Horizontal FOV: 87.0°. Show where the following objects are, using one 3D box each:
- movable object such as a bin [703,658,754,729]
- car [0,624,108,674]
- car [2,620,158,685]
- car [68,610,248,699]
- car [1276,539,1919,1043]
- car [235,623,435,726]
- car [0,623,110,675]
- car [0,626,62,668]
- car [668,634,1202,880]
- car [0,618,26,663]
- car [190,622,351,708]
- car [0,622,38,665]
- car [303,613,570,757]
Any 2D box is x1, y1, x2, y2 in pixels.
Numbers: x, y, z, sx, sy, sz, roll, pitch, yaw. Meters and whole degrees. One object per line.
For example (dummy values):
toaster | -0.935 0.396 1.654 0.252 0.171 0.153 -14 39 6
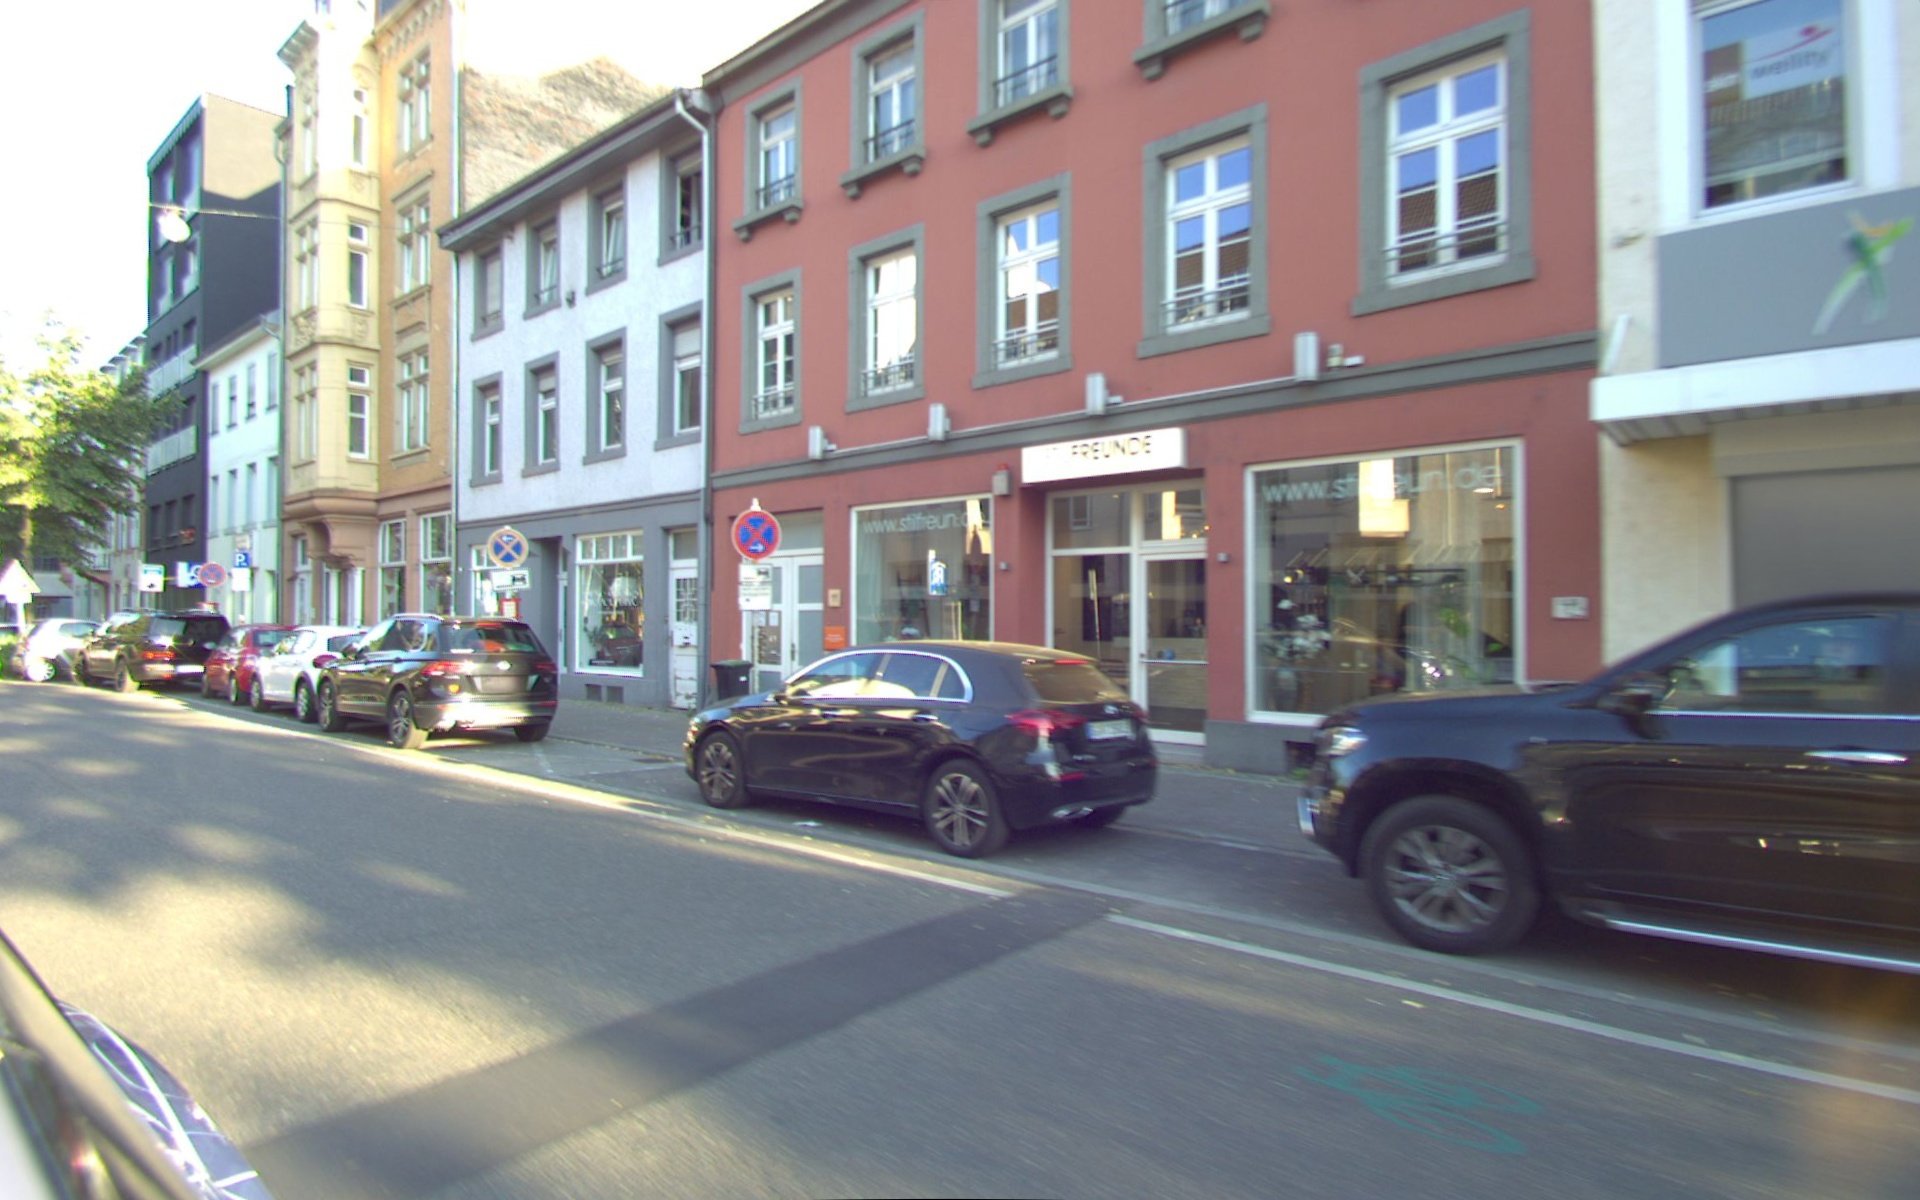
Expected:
movable object such as a bin | -3.425 1.368 14.993 0.670 0.997 0.425 -1 -1 41
car | -27.897 1.463 30.415 1.687 1.402 3.359 -2 -1 43
car | -22.131 1.334 25.495 1.569 1.532 2.668 -2 -4 37
car | -17.587 1.126 22.123 4.693 1.741 1.887 -1 -2 37
car | 4.258 0.721 4.227 5.343 1.824 1.809 -1 -3 39
car | -10.519 1.174 16.935 3.948 1.526 1.755 -1 -3 42
car | -29.693 1.543 32.194 1.856 1.529 3.852 -2 -1 41
car | -36.232 1.743 37.492 1.759 1.528 4.168 -1 -2 37
car | -0.400 1.021 8.166 4.307 1.451 1.695 -1 -3 41
car | -41.610 1.694 42.228 1.701 1.863 3.767 -1 -2 44
car | -13.476 1.215 19.720 3.483 1.526 1.755 -1 -3 42
car | -37.974 1.688 38.790 1.742 1.597 3.783 -1 0 43
car | -7.156 1.048 13.659 4.236 1.645 1.755 -1 -4 42
